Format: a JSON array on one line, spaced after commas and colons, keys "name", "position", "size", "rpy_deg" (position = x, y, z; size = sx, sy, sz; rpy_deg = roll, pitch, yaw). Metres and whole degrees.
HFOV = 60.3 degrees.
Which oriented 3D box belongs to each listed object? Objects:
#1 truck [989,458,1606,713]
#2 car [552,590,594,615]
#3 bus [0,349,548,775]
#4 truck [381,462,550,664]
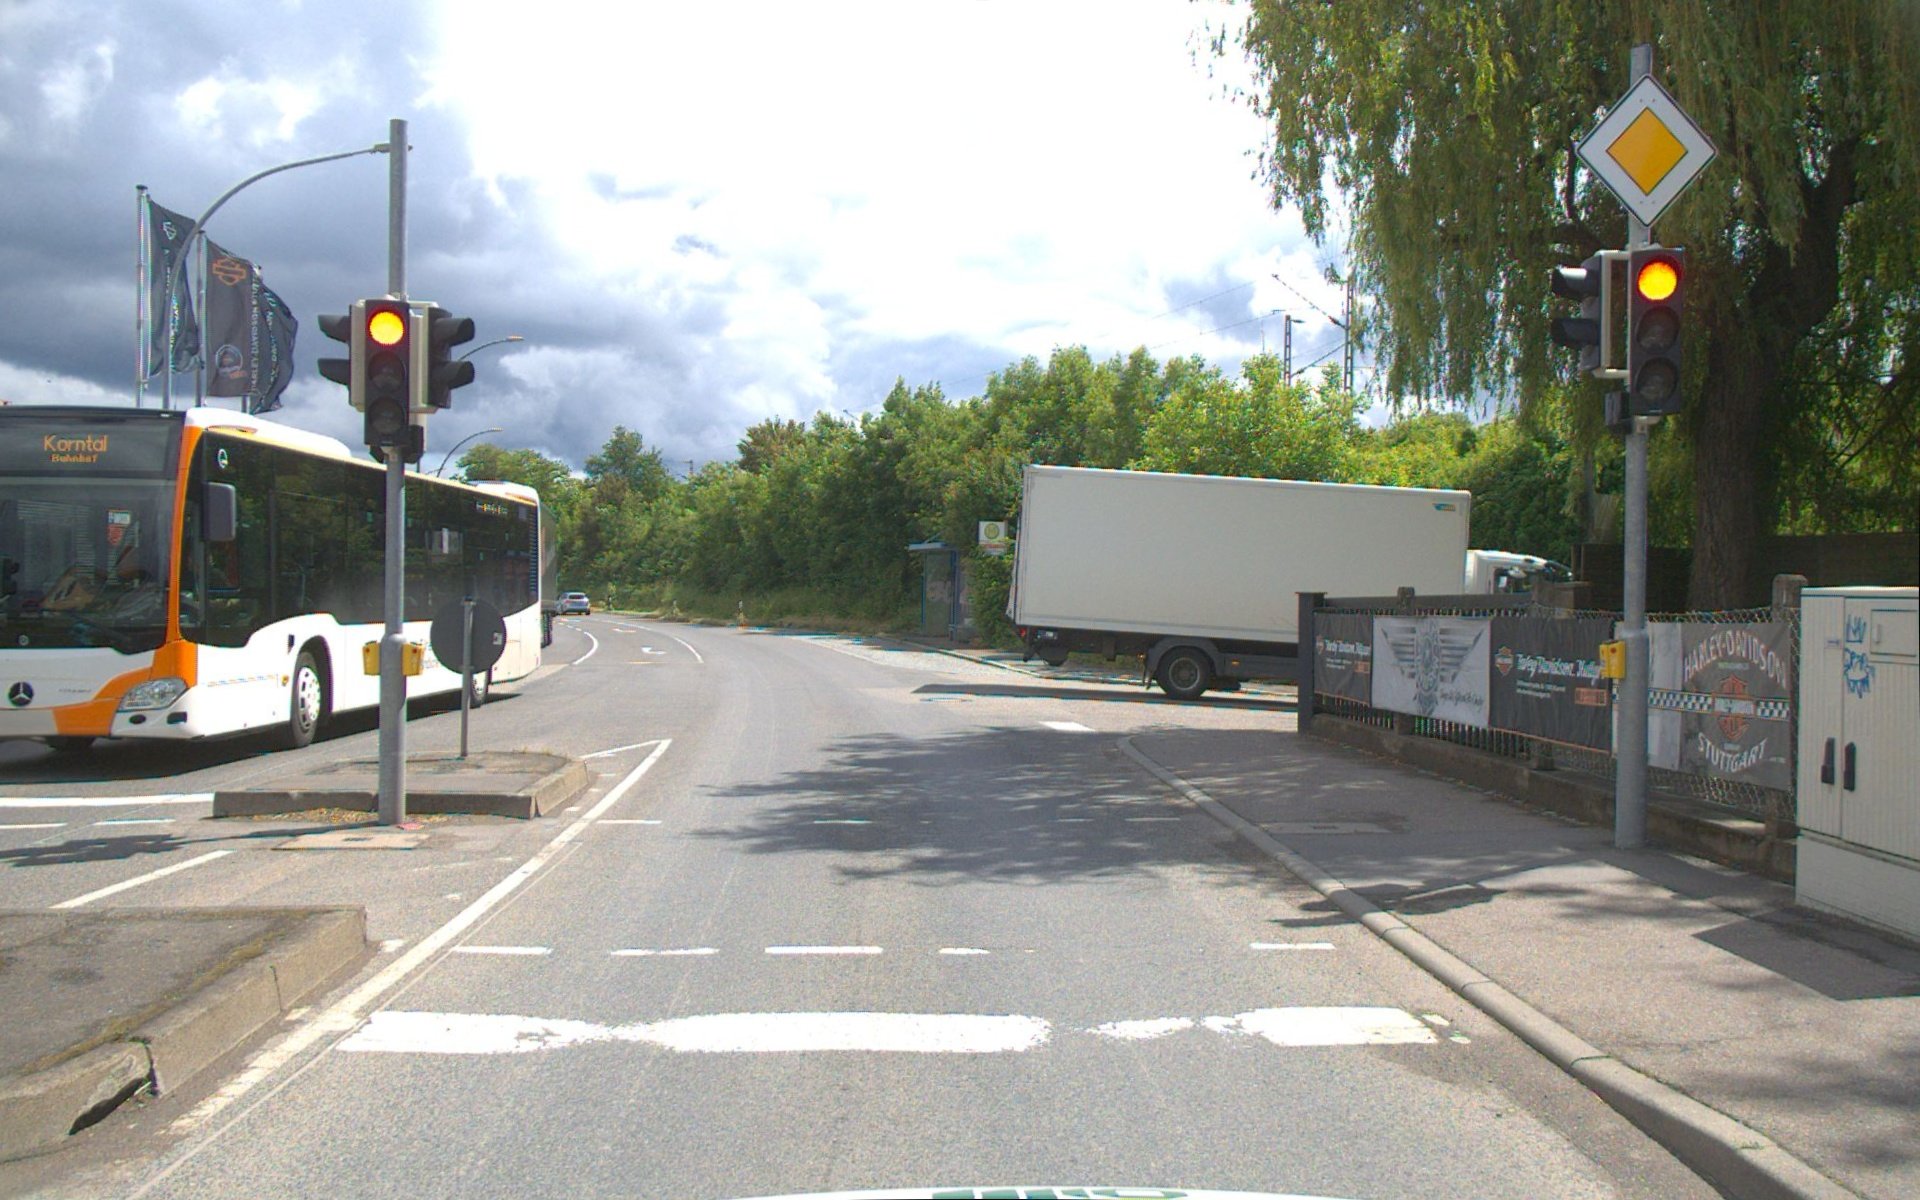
[{"name": "truck", "position": [5.404, -0.267, 27.612], "size": [9.489, 3.602, 2.851], "rpy_deg": [3, 0, 5]}, {"name": "car", "position": [-25.103, 0.161, 107.255], "size": [1.861, 1.535, 3.968], "rpy_deg": [1, 0, -25]}, {"name": "bus", "position": [-7.509, -0.288, 18.967], "size": [2.721, 3.323, 12.120], "rpy_deg": [0, 0, -1]}, {"name": "truck", "position": [-11.722, -0.783, 40.019], "size": [2.383, 4.203, 9.133], "rpy_deg": [3, 0, -8]}]
